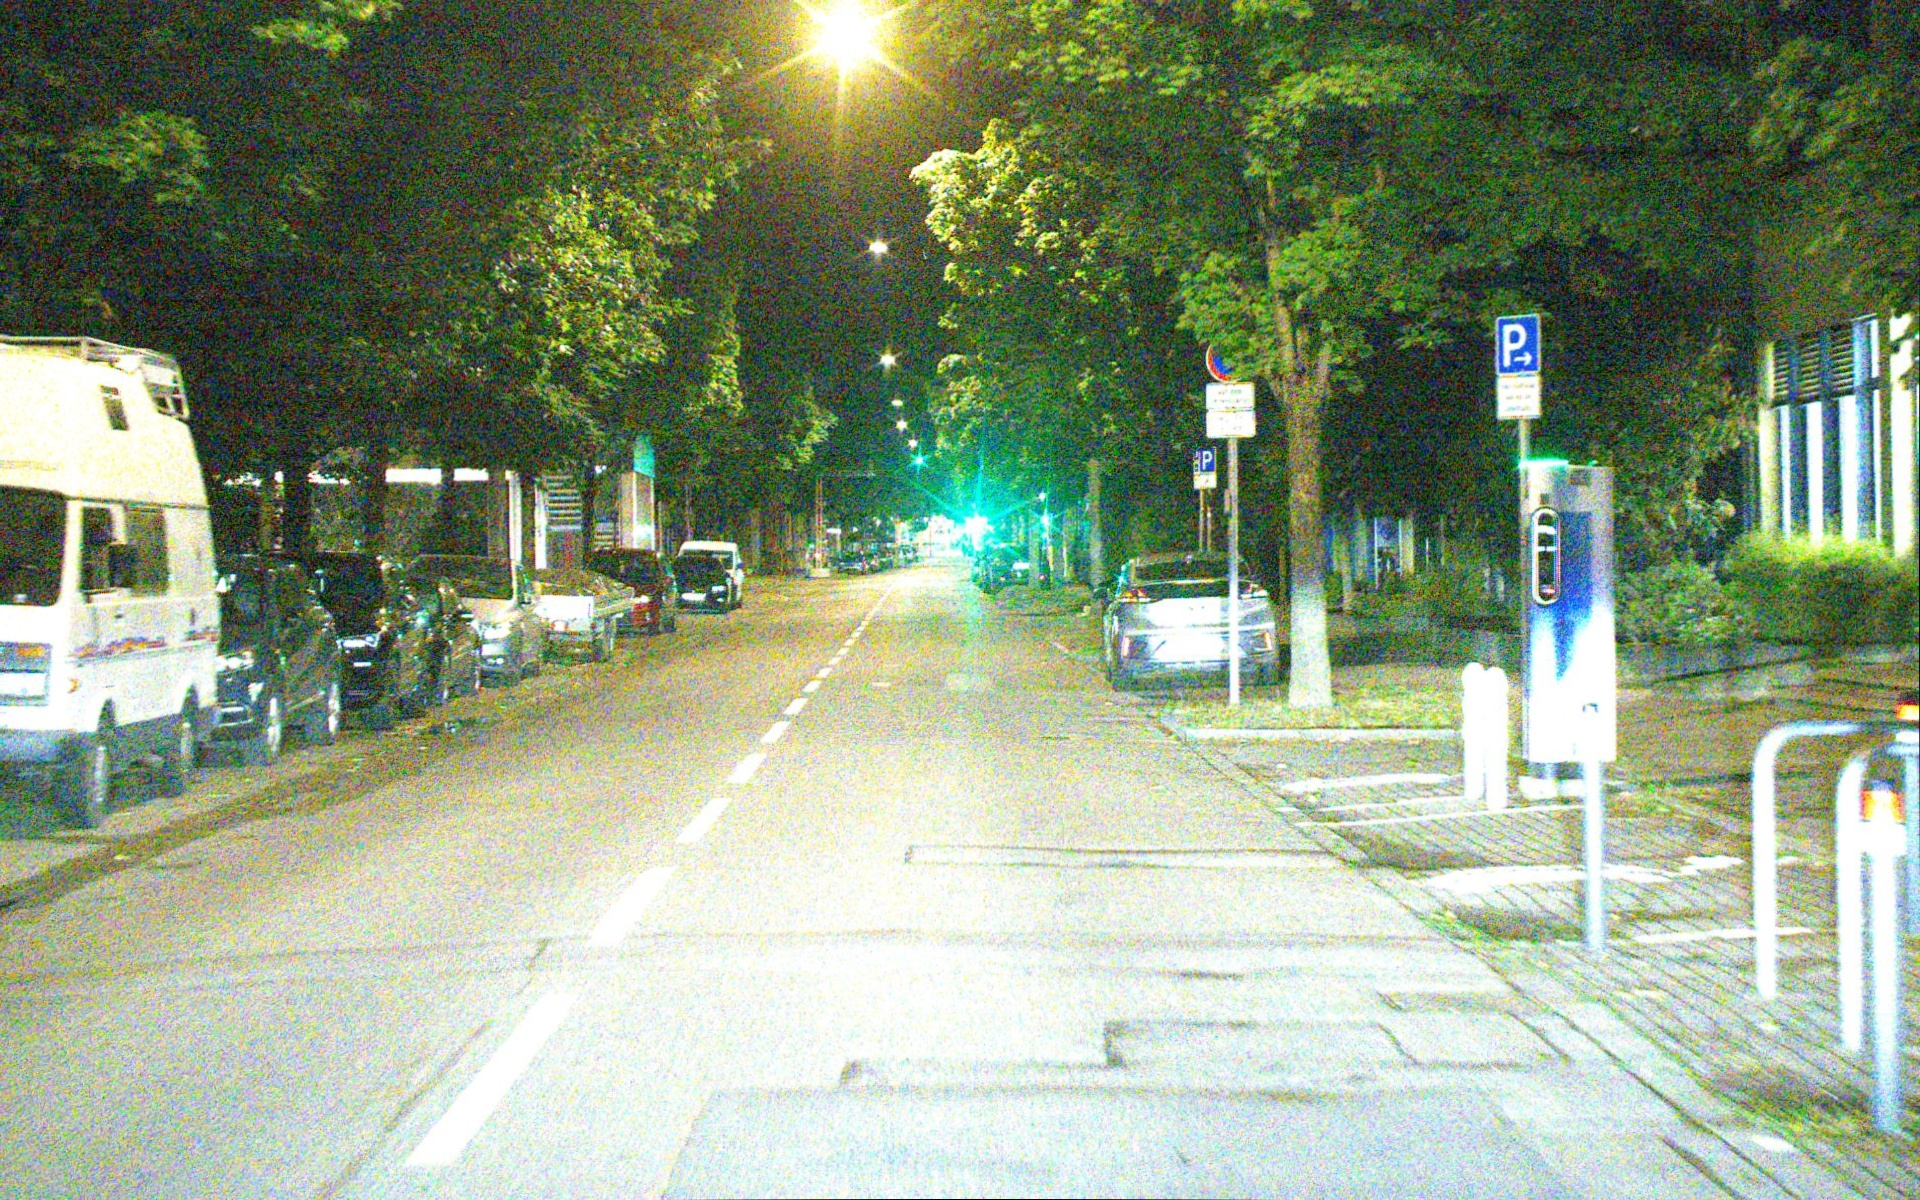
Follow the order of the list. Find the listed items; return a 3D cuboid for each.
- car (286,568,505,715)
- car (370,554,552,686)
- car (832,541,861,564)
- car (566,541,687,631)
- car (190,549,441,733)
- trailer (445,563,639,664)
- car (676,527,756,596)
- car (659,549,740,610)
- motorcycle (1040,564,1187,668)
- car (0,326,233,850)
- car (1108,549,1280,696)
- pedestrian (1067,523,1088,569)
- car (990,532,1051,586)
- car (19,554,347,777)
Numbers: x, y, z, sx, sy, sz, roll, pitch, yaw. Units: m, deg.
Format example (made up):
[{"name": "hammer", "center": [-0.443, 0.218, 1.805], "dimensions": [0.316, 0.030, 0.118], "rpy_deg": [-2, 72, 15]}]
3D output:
[{"name": "car", "center": [-6.174, 0.410, 38.070], "dimensions": [1.704, 1.407, 4.634], "rpy_deg": [-1, 1, -1]}, {"name": "car", "center": [-6.198, 0.206, 43.074], "dimensions": [1.716, 1.496, 4.206], "rpy_deg": [2, 1, -1]}, {"name": "car", "center": [-7.123, -2.982, 216.178], "dimensions": [1.740, 1.411, 3.752], "rpy_deg": [-1, 1, 0]}, {"name": "car", "center": [-6.352, -0.295, 65.844], "dimensions": [1.822, 1.593, 4.073], "rpy_deg": [2, 1, 1]}, {"name": "car", "center": [-6.018, 0.329, 32.531], "dimensions": [1.742, 1.601, 4.299], "rpy_deg": [0, 1, -2]}, {"name": "trailer", "center": [-6.120, 0.154, 50.949], "dimensions": [2.110, 1.330, 5.435], "rpy_deg": [1, 1, 1]}, {"name": "car", "center": [-6.738, -1.097, 95.279], "dimensions": [1.822, 1.805, 4.210], "rpy_deg": [2, 1, 1]}, {"name": "car", "center": [-6.634, -0.543, 87.715], "dimensions": [1.700, 1.428, 3.828], "rpy_deg": [2, 1, 0]}, {"name": "motorcycle", "center": [1.950, 0.193, 44.160], "dimensions": [0.926, 1.279, 2.235], "rpy_deg": [-2, 1, -25]}, {"name": "car", "center": [-6.091, -0.120, 21.459], "dimensions": [2.179, 2.899, 4.910], "rpy_deg": [0, 1, -1]}, {"name": "car", "center": [2.525, 0.206, 37.918], "dimensions": [1.668, 1.424, 4.148], "rpy_deg": [-3, 1, 2]}, {"name": "pedestrian", "center": [4.456, -2.038, 130.496], "dimensions": [0.705, 1.716, 0.821], "rpy_deg": [-2, 1, 0]}, {"name": "car", "center": [1.886, -1.312, 108.370], "dimensions": [1.853, 1.648, 4.209], "rpy_deg": [-1, 1, 0]}, {"name": "car", "center": [-6.041, 0.451, 27.169], "dimensions": [1.742, 1.601, 4.116], "rpy_deg": [0, 1, -1]}]
